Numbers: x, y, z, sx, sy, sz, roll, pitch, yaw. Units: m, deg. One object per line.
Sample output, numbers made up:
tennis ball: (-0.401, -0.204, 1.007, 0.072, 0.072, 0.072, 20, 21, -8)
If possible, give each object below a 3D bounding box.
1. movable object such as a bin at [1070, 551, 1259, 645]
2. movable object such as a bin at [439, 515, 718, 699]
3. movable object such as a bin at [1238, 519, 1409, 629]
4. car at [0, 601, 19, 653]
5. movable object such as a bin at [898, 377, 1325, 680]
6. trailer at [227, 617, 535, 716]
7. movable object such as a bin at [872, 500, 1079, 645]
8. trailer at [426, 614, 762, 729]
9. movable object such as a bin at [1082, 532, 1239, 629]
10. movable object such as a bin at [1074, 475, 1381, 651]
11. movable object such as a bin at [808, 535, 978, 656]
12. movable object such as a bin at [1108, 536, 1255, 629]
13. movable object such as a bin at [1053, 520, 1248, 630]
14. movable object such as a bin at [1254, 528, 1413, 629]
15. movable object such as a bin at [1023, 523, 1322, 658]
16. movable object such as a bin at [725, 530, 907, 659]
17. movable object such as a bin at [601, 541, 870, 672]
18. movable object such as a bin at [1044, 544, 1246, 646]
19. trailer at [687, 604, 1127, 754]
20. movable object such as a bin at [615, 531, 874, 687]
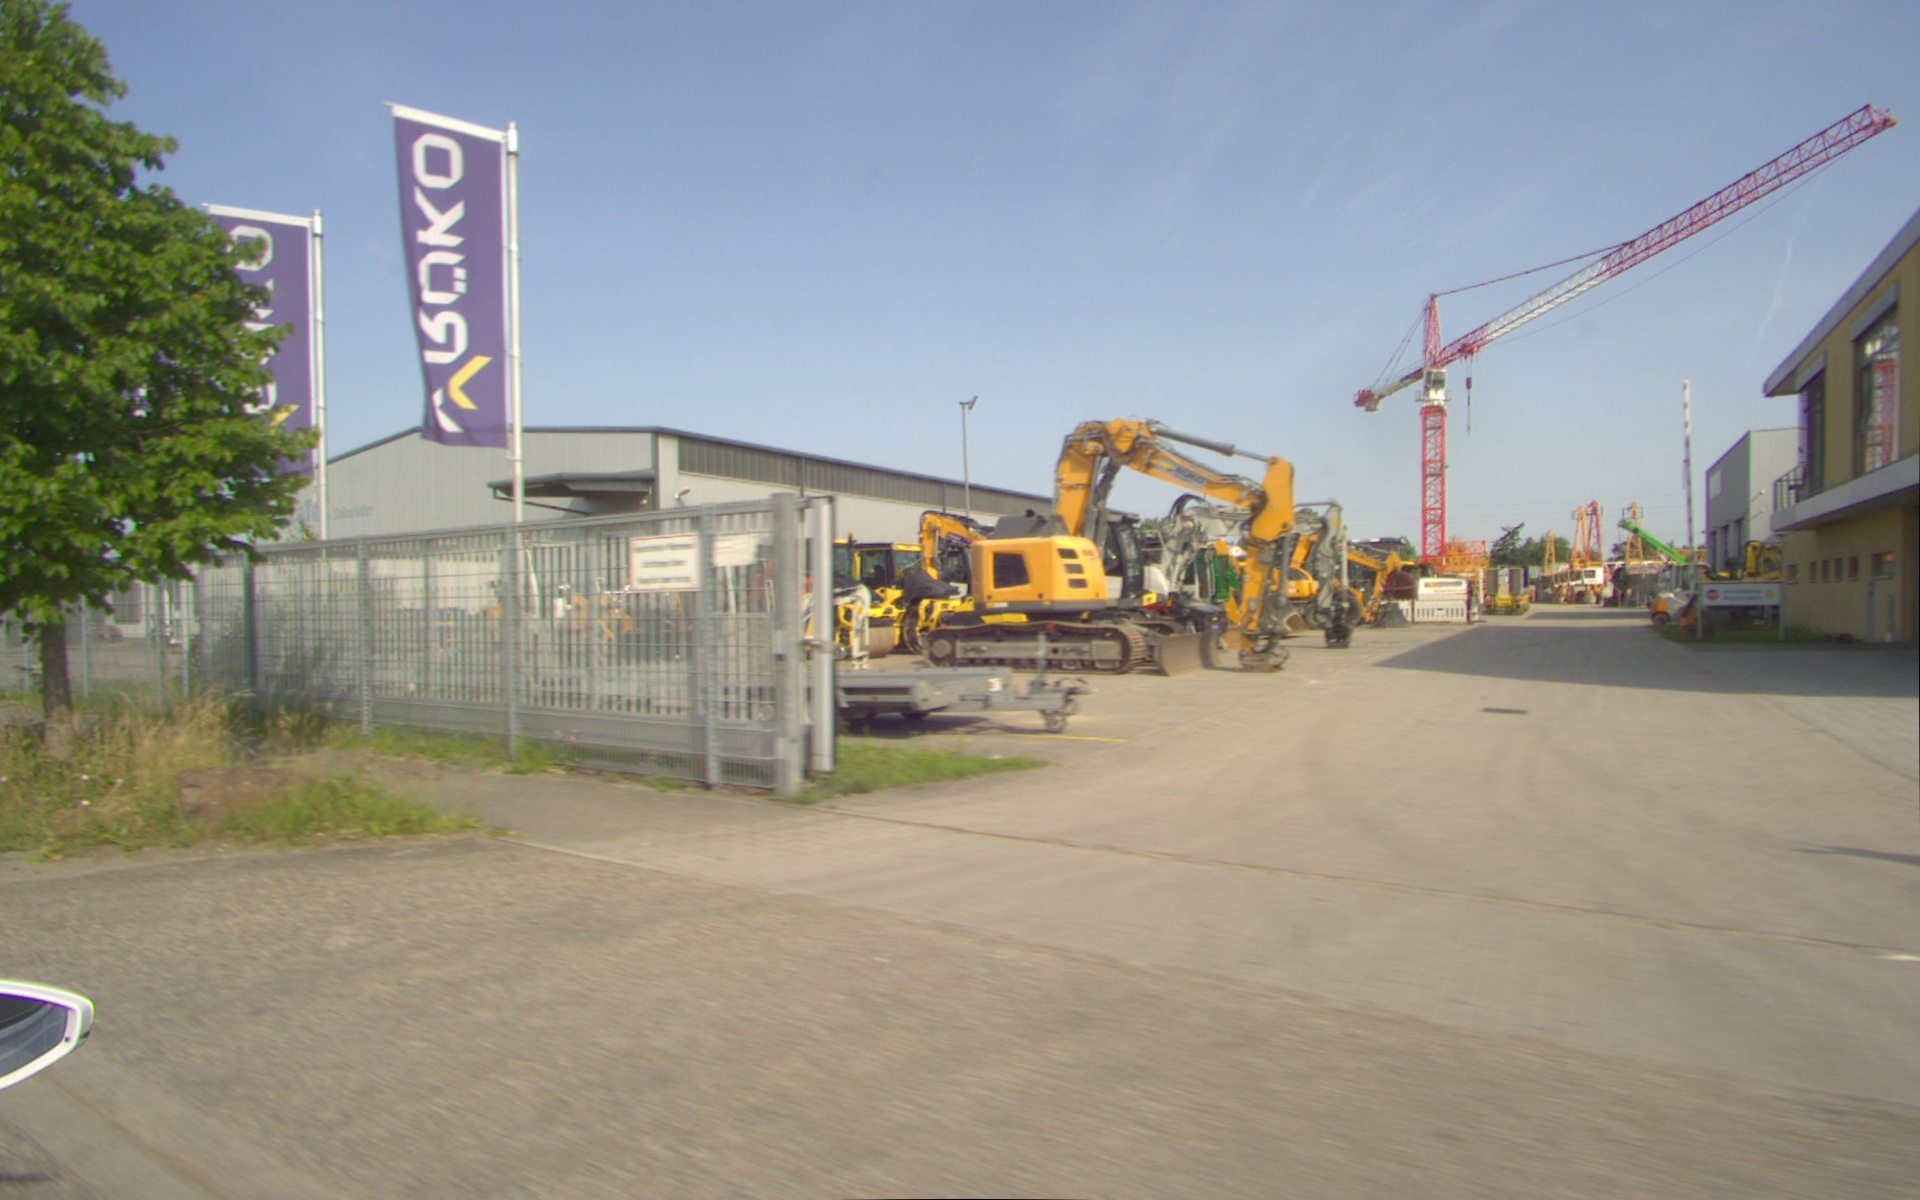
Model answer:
movable object such as a bin: (6.540, -0.083, 32.289, 5.606, 2.806, 2.050, 0, 1, 31)
movable object such as a bin: (-6.703, 0.126, 17.382, 5.087, 2.789, 1.882, 0, 1, 33)
movable object such as a bin: (14.122, -0.924, 38.970, 5.930, 3.982, 2.714, -1, 1, 28)
car: (-27.853, 0.727, 27.274, 4.700, 1.376, 1.878, 0, 0, 29)
movable object such as a bin: (2.837, -1.161, 19.502, 7.559, 4.871, 3.310, 0, 1, 31)
trailer: (-9.024, 0.926, 15.517, 4.725, 1.260, 2.122, 0, 0, 31)
movable object such as a bin: (0.424, -0.735, 29.835, 5.637, 3.925, 2.677, 0, 1, 33)
trailer: (-4.865, 0.834, 13.185, 4.231, 1.260, 1.941, 0, 0, 31)
movable object such as a bin: (8.457, -0.757, 42.412, 6.049, 3.831, 2.448, -1, 1, 29)
movable object such as a bin: (6.783, -0.847, 25.735, 7.101, 3.982, 2.912, 0, 1, 31)
movable object such as a bin: (-1.859, -0.111, 27.416, 4.311, 3.072, 1.988, 0, 1, 33)
movable object such as a bin: (10.010, -0.732, 45.381, 6.049, 3.982, 2.448, -1, 1, 29)
movable object such as a bin: (7.391, -0.884, 39.161, 7.092, 3.982, 2.463, -1, 1, 29)
movable object such as a bin: (15.667, -0.828, 42.019, 5.930, 3.982, 2.714, -1, 1, 28)
movable object such as a bin: (4.850, -0.217, 23.138, 6.255, 2.753, 2.695, 0, 1, 31)
movable object such as a bin: (-3.757, -0.117, 25.881, 4.429, 3.072, 1.988, 0, 1, 33)
movable object such as a bin: (-4.952, 0.131, 21.974, 5.263, 2.525, 2.915, 0, 1, 33)
movable object such as a bin: (5.463, -0.164, 29.913, 5.606, 2.806, 2.050, 0, 1, 31)
trailer: (-0.665, 0.754, 10.920, 4.501, 1.328, 1.989, -2, -1, 34)
movable object such as a bin: (-3.991, 0.150, 18.218, 4.701, 2.491, 1.986, 0, 1, 36)
